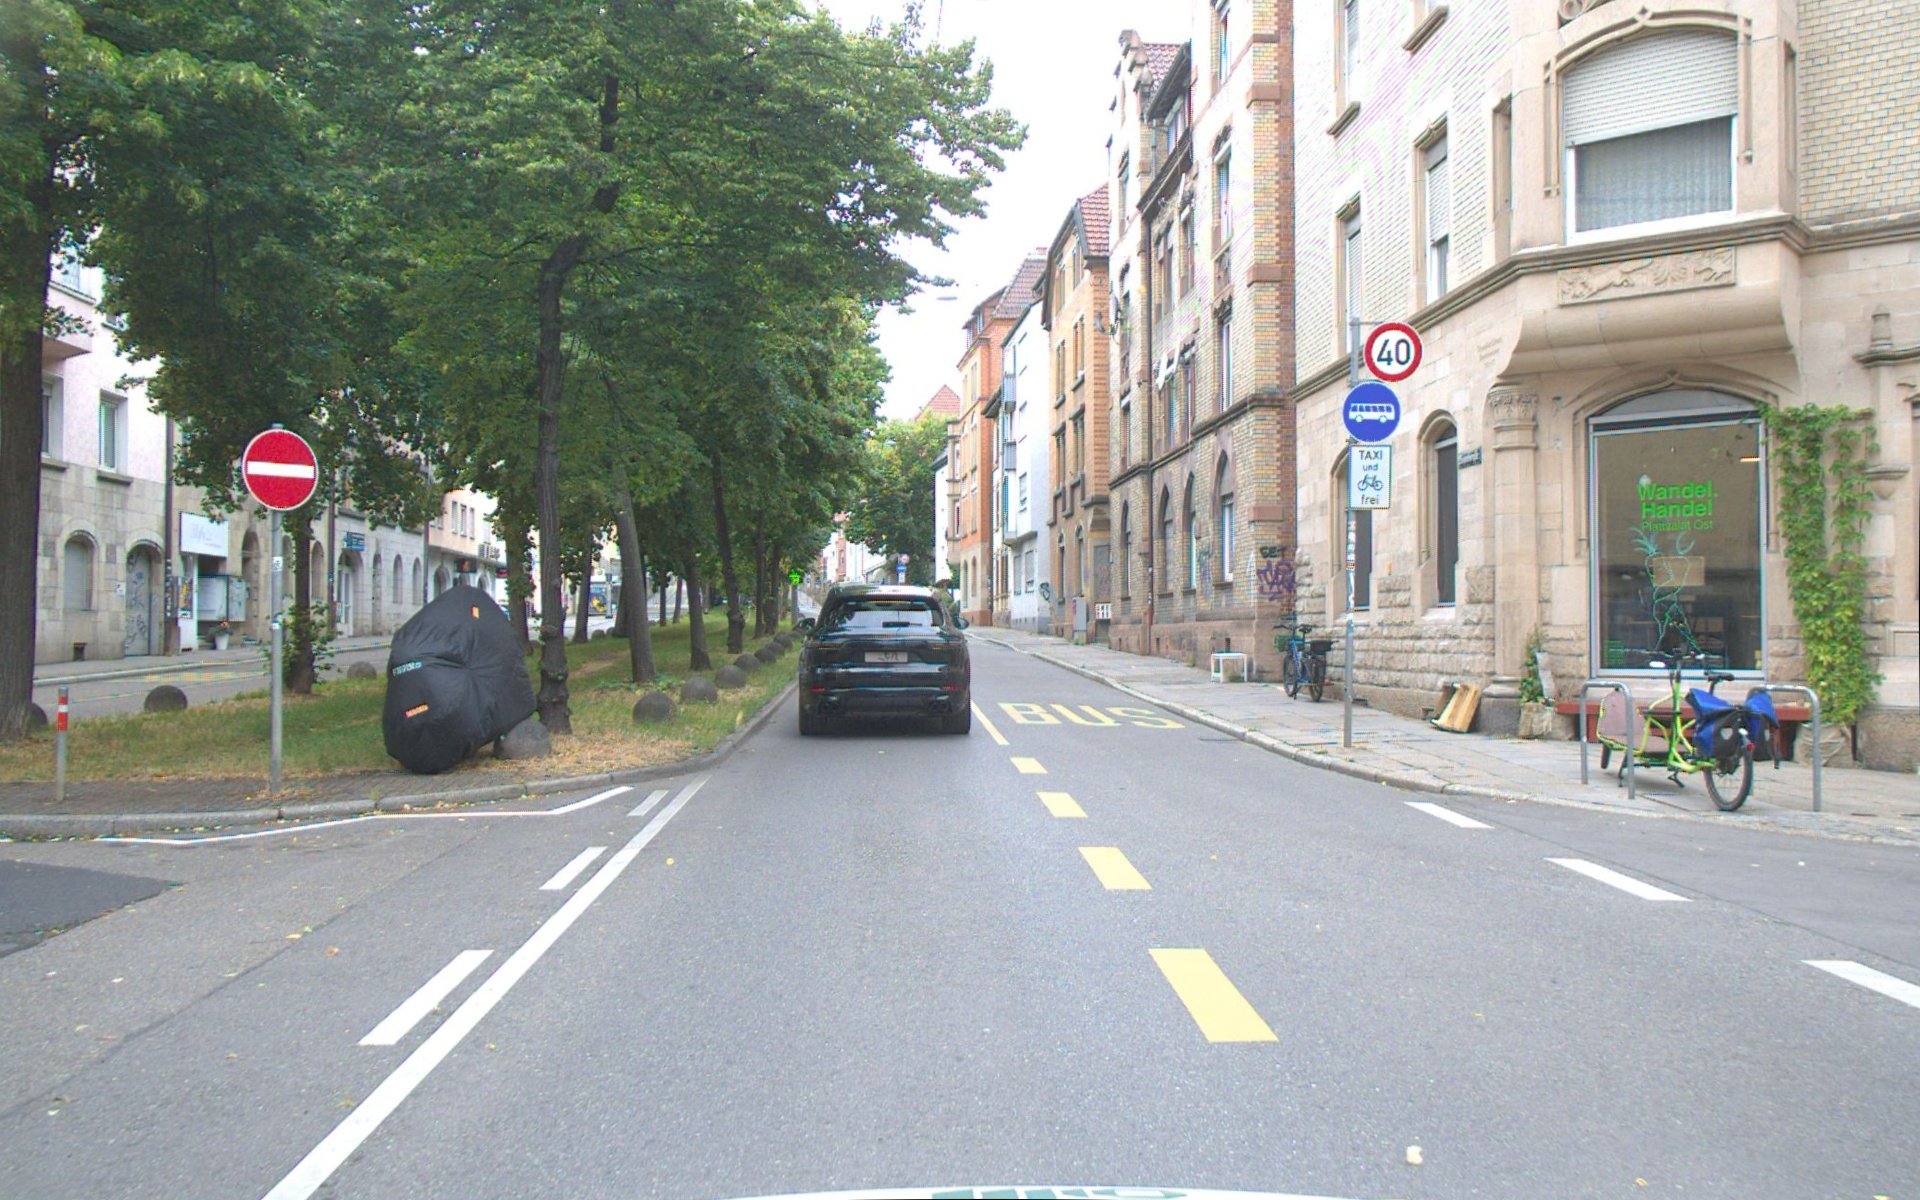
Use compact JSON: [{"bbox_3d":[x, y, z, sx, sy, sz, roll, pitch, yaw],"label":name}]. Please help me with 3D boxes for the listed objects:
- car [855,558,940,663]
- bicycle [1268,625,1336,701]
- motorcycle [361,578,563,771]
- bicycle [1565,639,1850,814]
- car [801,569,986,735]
[{"bbox_3d":[-1.495,0.175,38.228,1.813,2.220,3.998,1,2,-4],"label":"car"},{"bbox_3d":[4.994,0.894,24.283,0.437,1.055,2.247,-1,-1,-2],"label":"bicycle"},{"bbox_3d":[-4.124,0.577,13.928,0.999,1.471,2.246,-2,0,-1],"label":"motorcycle"},{"bbox_3d":[5.760,0.919,13.028,0.861,1.149,2.979,1,0,-1],"label":"bicycle"},{"bbox_3d":[-0.838,0.525,19.747,1.954,1.694,3.998,1,2,-4],"label":"car"}]
